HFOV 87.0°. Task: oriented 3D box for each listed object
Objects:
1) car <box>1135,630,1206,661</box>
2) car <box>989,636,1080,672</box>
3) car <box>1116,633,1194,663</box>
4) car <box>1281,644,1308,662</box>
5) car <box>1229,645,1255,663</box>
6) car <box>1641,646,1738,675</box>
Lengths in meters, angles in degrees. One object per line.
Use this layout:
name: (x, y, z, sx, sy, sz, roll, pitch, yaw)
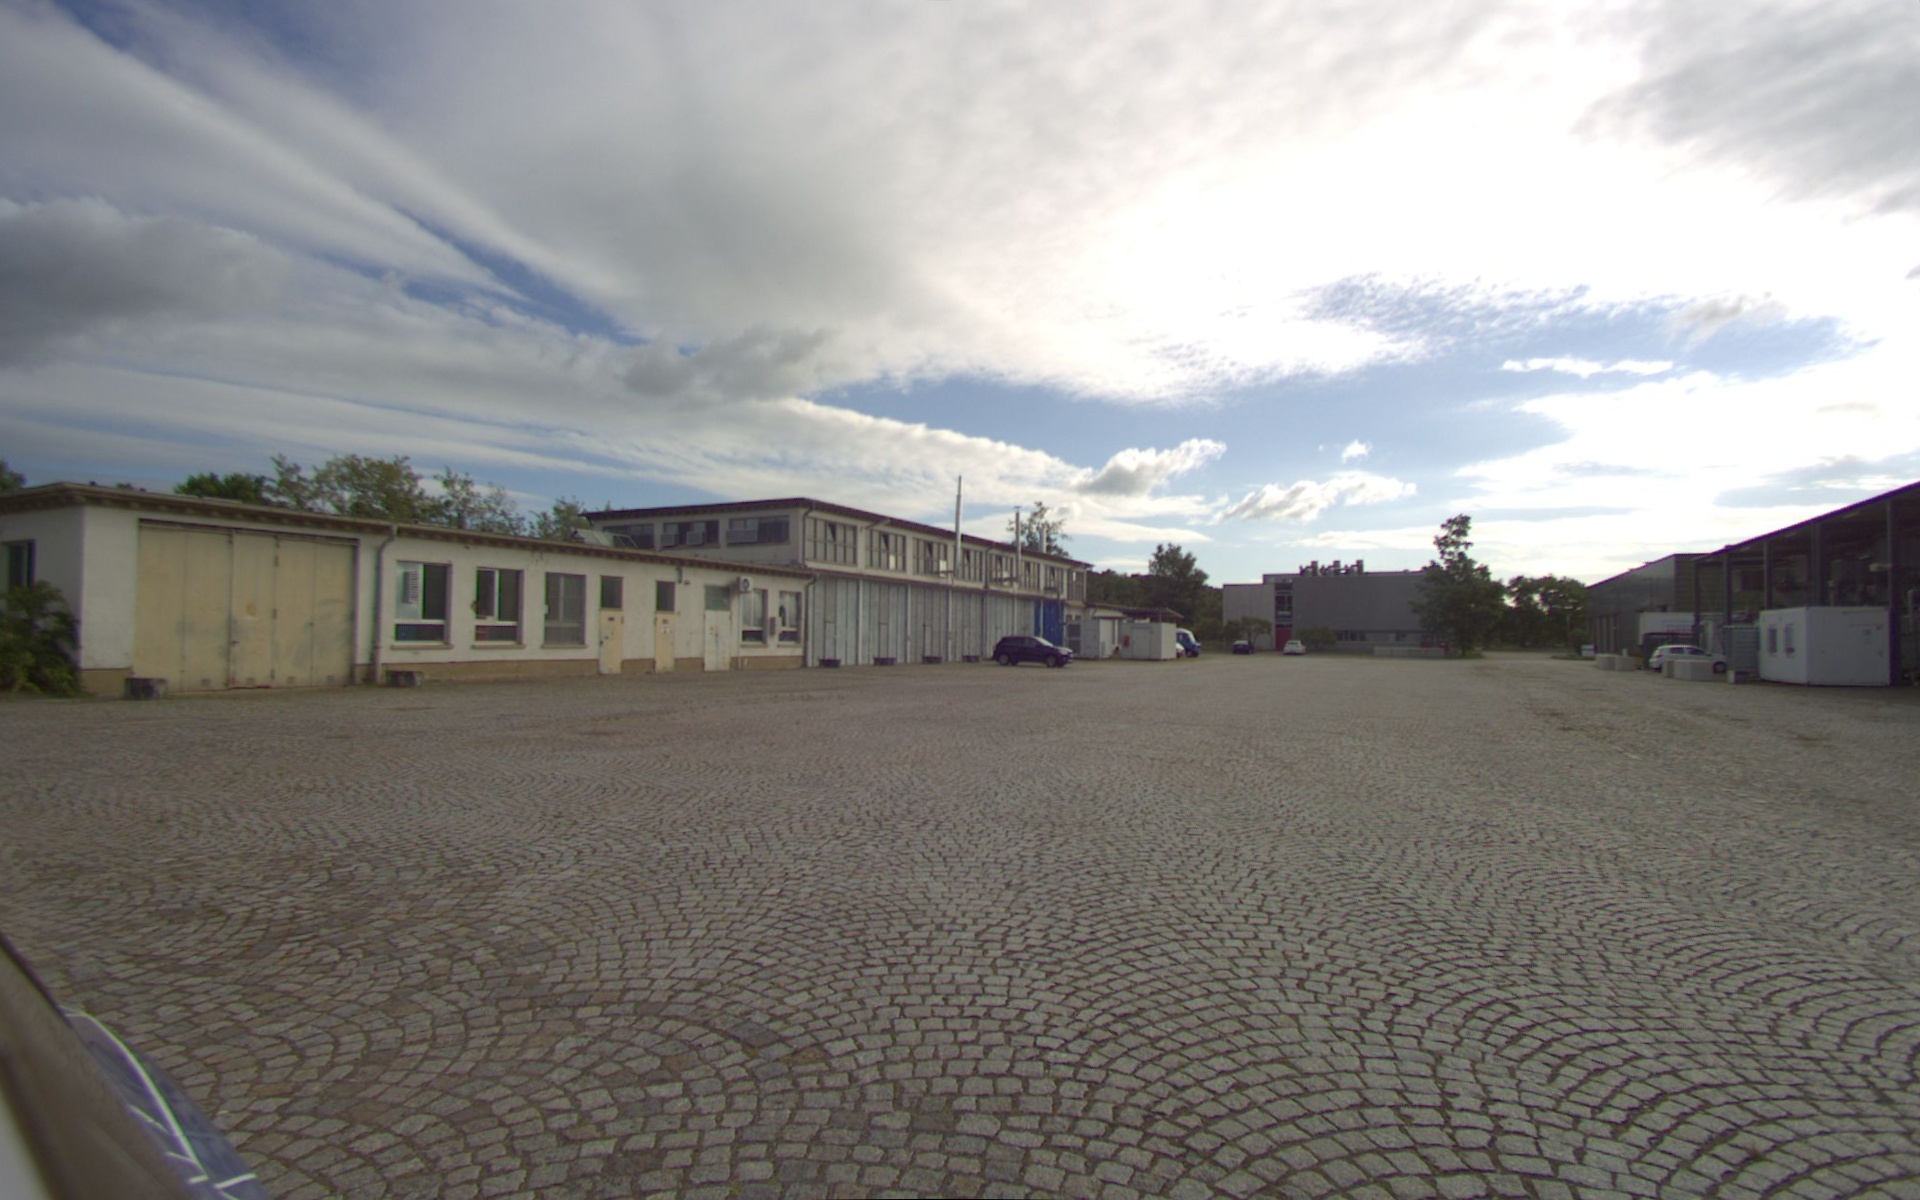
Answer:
car: (18.080, 3.904, 86.872, 5.599, 2.635, 2.431, -1, -3, 25)
car: (3.957, 2.843, 53.646, 4.411, 1.770, 1.983, -1, -6, 26)
car: (15.191, 3.710, 78.774, 5.599, 2.236, 2.431, -1, -3, 25)
car: (34.617, 5.478, 104.681, 2.142, 1.824, 3.966, -1, -3, 25)
car: (29.706, 5.652, 106.587, 1.988, 1.824, 3.966, -1, -3, 25)
car: (40.332, 3.344, 56.077, 3.977, 1.503, 1.983, -1, -3, 25)
